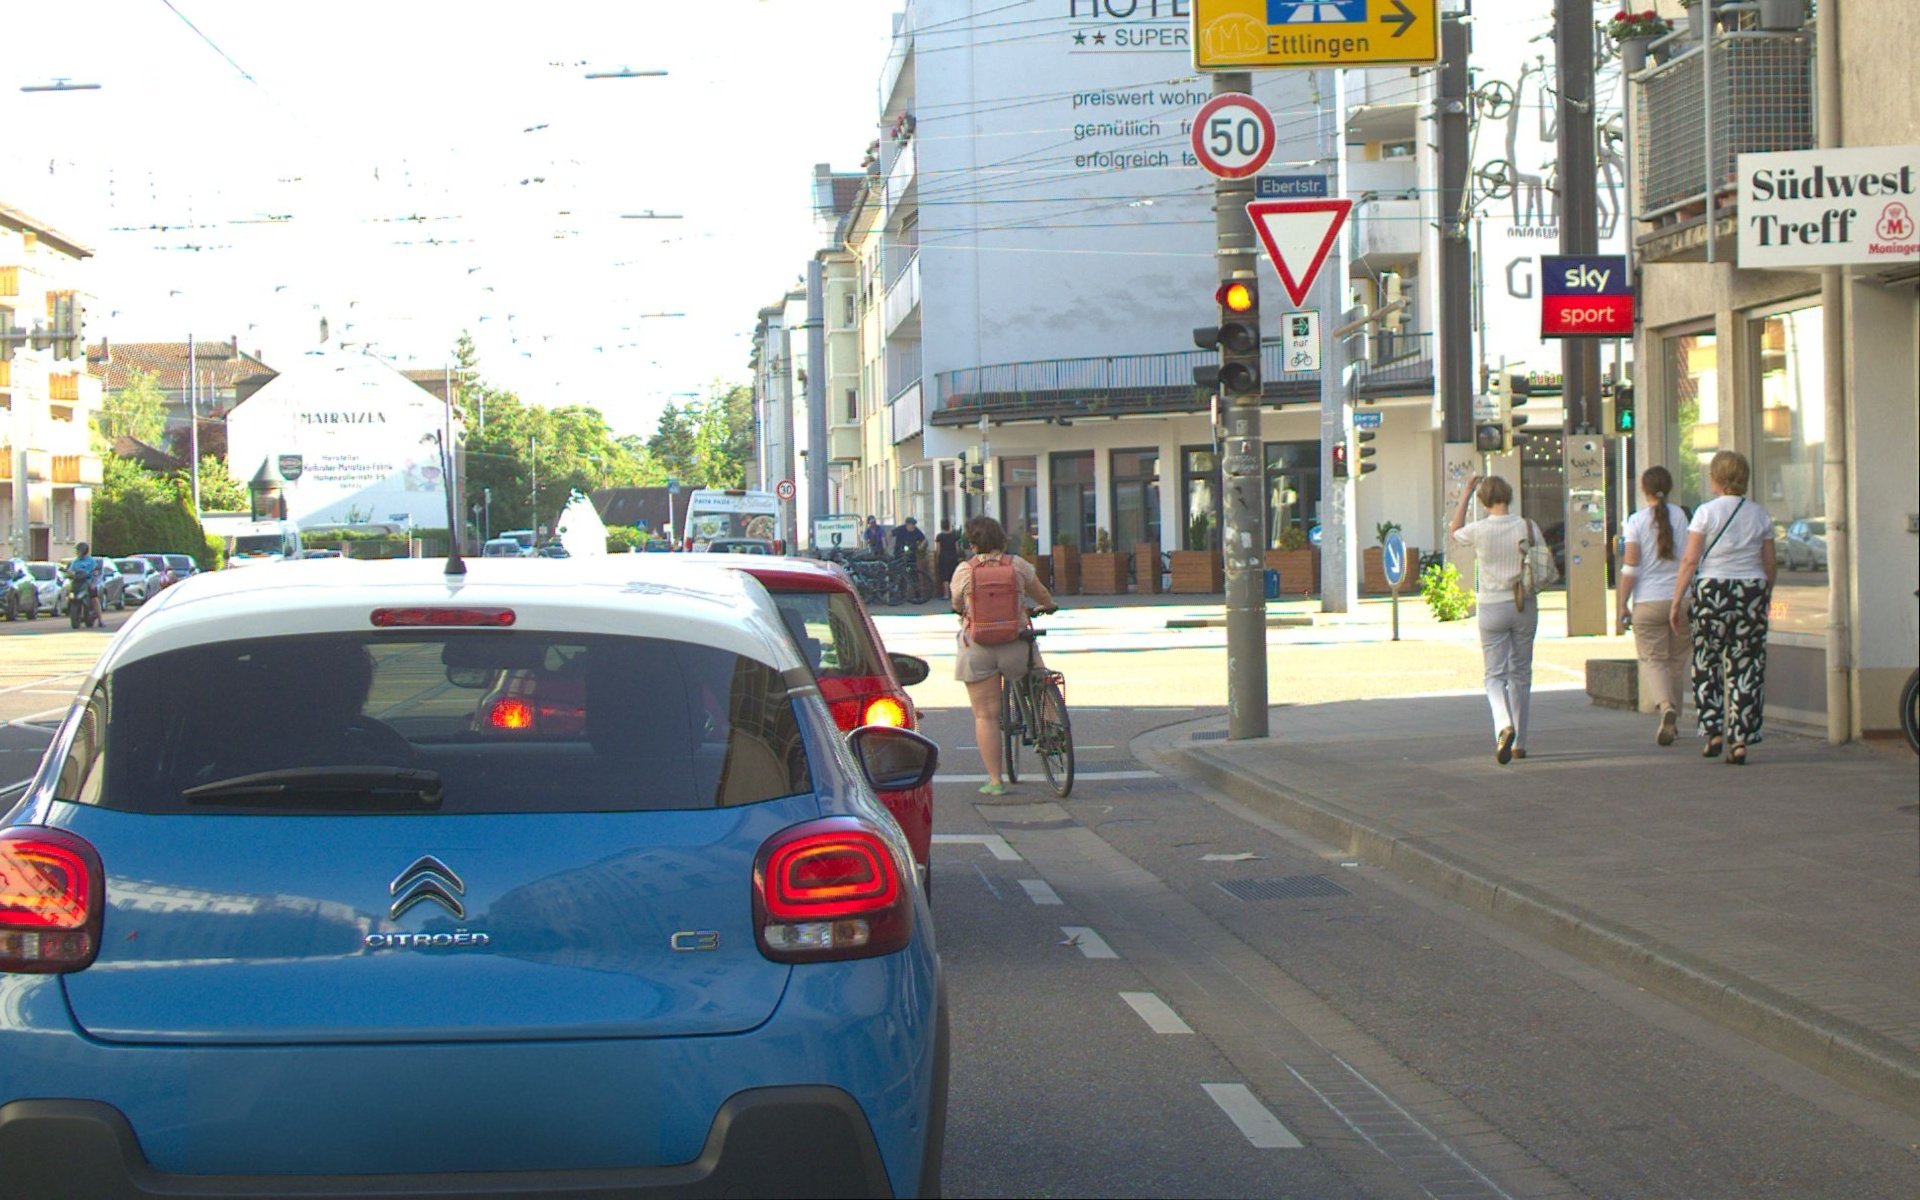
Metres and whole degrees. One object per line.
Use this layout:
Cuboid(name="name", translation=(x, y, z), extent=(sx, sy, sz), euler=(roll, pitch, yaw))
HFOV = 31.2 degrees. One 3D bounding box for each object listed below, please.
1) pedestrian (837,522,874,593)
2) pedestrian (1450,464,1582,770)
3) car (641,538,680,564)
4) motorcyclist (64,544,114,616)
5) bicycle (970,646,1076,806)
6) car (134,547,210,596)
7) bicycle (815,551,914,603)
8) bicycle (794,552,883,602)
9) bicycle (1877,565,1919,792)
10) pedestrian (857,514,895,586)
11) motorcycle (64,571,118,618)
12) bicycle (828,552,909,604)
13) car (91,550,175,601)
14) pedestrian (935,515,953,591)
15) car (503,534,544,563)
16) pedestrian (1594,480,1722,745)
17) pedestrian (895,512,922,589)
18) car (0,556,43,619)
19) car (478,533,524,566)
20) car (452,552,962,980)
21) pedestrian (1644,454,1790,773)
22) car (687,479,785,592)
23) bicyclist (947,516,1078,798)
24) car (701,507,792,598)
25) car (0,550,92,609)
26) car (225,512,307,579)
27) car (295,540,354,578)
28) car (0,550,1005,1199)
Cuboid(name="pedestrian", translation=(-2.316, -0.945, 76.409), extent=(0.492, 1.550, 0.647), euler=(-1, 1, 35))
Cuboid(name="pedestrian", translation=(3.127, 0.081, 19.375), extent=(0.541, 1.666, 0.624), euler=(-3, 3, -3))
Cuboid(name="car", translation=(-15.077, -2.482, 173.061), extent=(1.754, 1.255, 3.833), euler=(-1, 1, -8))
Cuboid(name="motorcyclist", translation=(-17.034, -0.397, 67.283), extent=(0.719, 1.373, 0.911), euler=(-1, 1, 0))
Cuboid(name="bicycle", translation=(0.371, 0.744, 20.882), extent=(0.498, 0.861, 1.749), euler=(-1, 1, -3))
Cuboid(name="car", translation=(-26.629, -0.968, 116.275), extent=(1.870, 1.568, 4.001), euler=(-1, 1, -4))
Cuboid(name="bicycle", translation=(-1.867, -0.448, 67.290), extent=(1.874, 0.953, 0.702), euler=(-1, 1, 1))
Cuboid(name="bicycle", translation=(-2.415, -0.463, 68.646), extent=(1.720, 0.953, 0.702), euler=(-1, 1, 1))
Cuboid(name="bicycle", translation=(4.835, 0.378, 15.974), extent=(0.530, 1.068, 1.811), euler=(-1, 1, -4))
Cuboid(name="pedestrian", translation=(-1.814, -1.083, 74.520), extent=(0.492, 1.550, 0.647), euler=(-1, 1, 35))
Cuboid(name="motorcycle", translation=(-17.041, -0.113, 67.443), extent=(0.615, 0.861, 1.671), euler=(-1, 1, -1))
Cuboid(name="bicycle", translation=(-1.759, -0.432, 66.231), extent=(1.504, 0.953, 0.702), euler=(-1, 1, 1))
Cuboid(name="car", translation=(-25.521, -0.770, 106.192), extent=(1.910, 1.492, 4.001), euler=(-1, 1, -5))
Cuboid(name="pedestrian", translation=(-0.324, -0.963, 70.367), extent=(0.284, 1.550, 0.305), euler=(-2, 1, -9))
Cuboid(name="car", translation=(-23.726, -2.798, 187.117), extent=(2.021, 1.520, 4.001), euler=(-2, 1, -5))
Cuboid(name="pedestrian", translation=(4.109, 0.061, 20.268), extent=(0.541, 1.502, 0.611), euler=(-3, 3, -3))
Cuboid(name="pedestrian", translation=(-1.054, -1.007, 70.066), extent=(0.491, 1.550, 0.384), euler=(-1, 1, -4))
Cuboid(name="car", translation=(-24.315, -0.309, 86.086), extent=(1.910, 1.492, 4.001), euler=(-1, 1, -5))
Cuboid(name="car", translation=(-22.631, -2.501, 169.530), extent=(2.021, 1.520, 4.001), euler=(-1, 1, -5))
Cuboid(name="car", translation=(-0.905, 0.546, 13.888), extent=(1.738, 1.415, 4.000), euler=(-1, 1, -1))
Cuboid(name="pedestrian", translation=(4.087, 0.063, 18.593), extent=(0.541, 1.666, 0.650), euler=(-3, 1, -3))
Cuboid(name="car", translation=(-4.737, -1.352, 72.651), extent=(1.993, 2.317, 4.001), euler=(0, 1, -4))
Cuboid(name="bicyclist", translation=(0.306, 0.324, 20.537), extent=(0.726, 1.640, 0.790), euler=(-1, 1, -1))
Cuboid(name="car", translation=(-4.220, -0.935, 67.745), extent=(1.732, 1.744, 3.214), euler=(0, 1, -4))
Cuboid(name="car", translation=(-24.614, -0.572, 92.220), extent=(1.910, 1.492, 4.001), euler=(-1, 1, -5))
Cuboid(name="car", translation=(-24.048, -1.902, 119.269), extent=(2.206, 2.243, 4.678), euler=(-1, 1, -5))
Cuboid(name="car", translation=(-26.725, -1.739, 144.619), extent=(2.021, 1.520, 4.001), euler=(-1, 1, -5))
Cuboid(name="car", translation=(-1.037, 0.637, 7.122), extent=(1.743, 1.457, 4.001), euler=(0, 1, -7))
